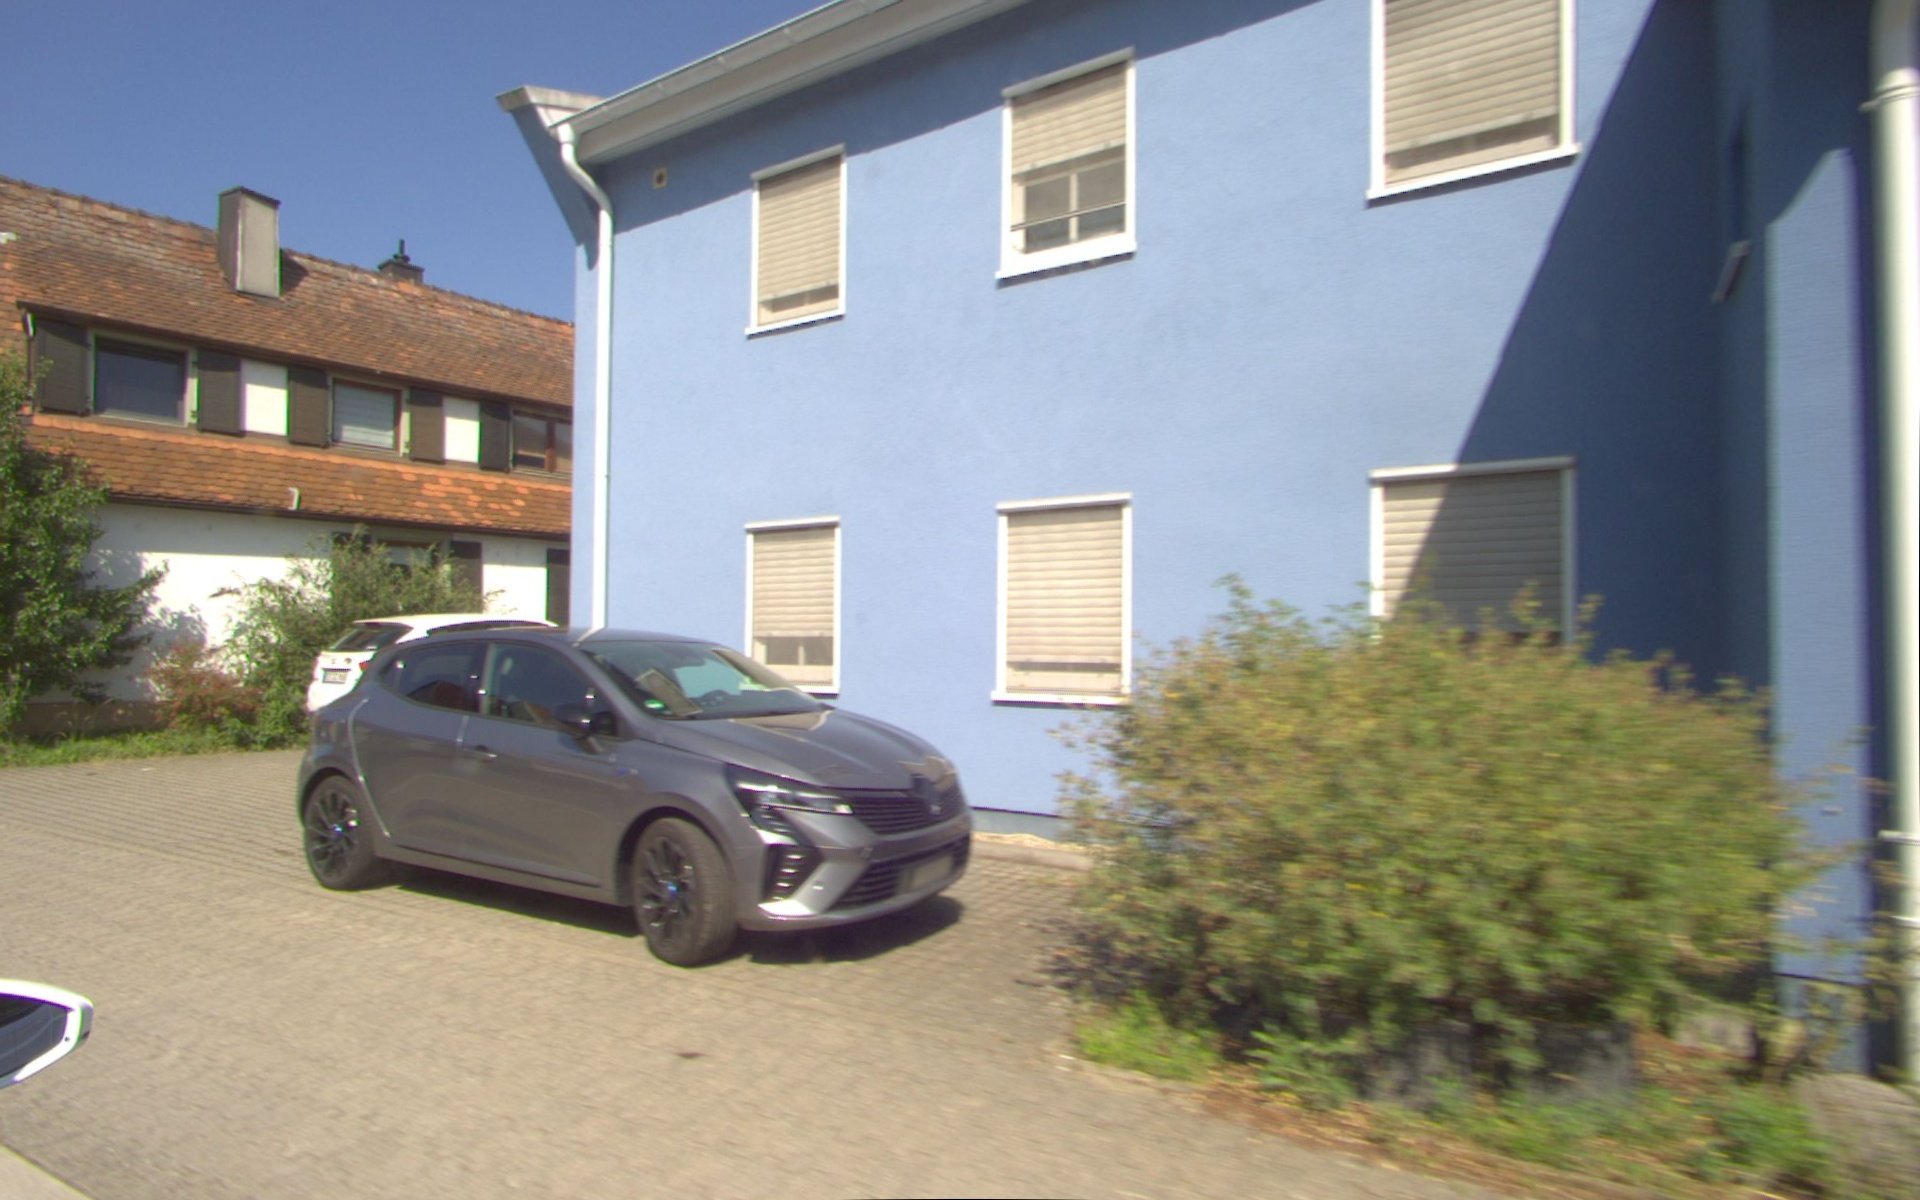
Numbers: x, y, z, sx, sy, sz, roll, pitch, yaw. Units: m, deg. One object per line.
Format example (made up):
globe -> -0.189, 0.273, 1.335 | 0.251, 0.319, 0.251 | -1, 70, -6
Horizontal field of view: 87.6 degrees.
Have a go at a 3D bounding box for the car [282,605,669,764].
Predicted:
car -> -5.968, 0.998, 12.850 | 1.787, 1.678, 4.167 | -1, -3, 33

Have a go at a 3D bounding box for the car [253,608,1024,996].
car -> -1.852, 0.845, 5.483 | 4.083, 1.437, 1.689 | -1, -4, 29
